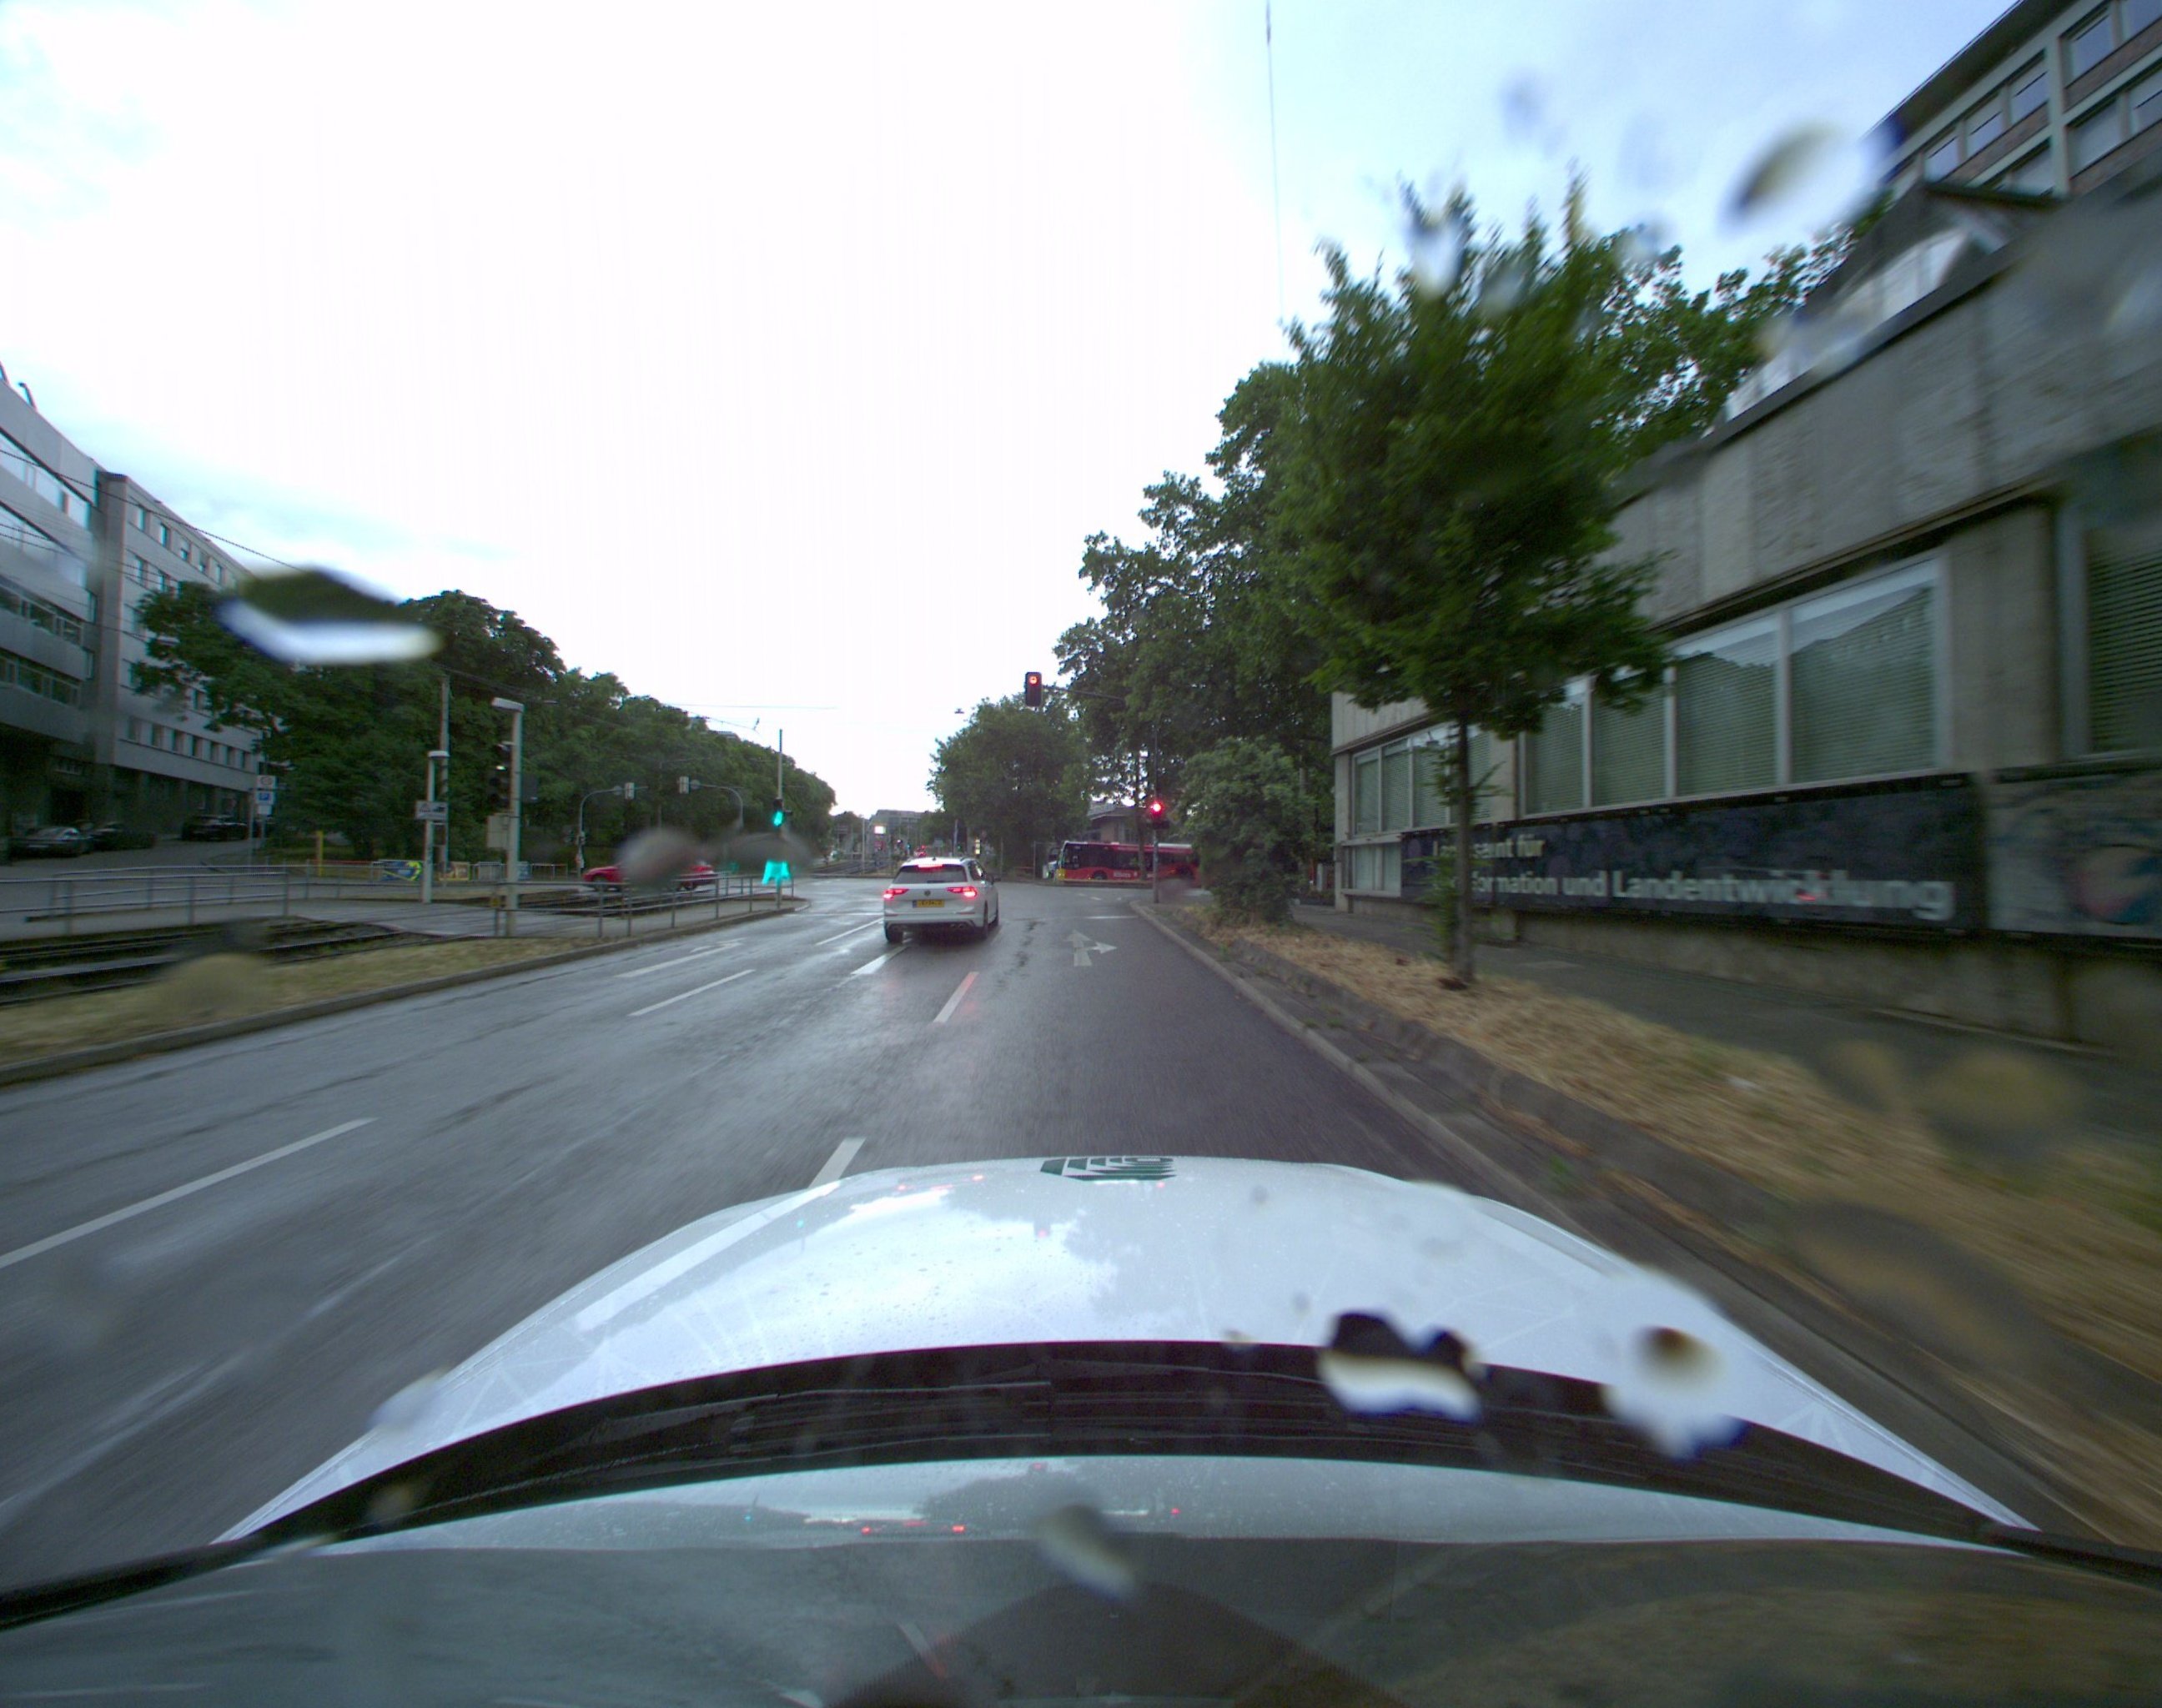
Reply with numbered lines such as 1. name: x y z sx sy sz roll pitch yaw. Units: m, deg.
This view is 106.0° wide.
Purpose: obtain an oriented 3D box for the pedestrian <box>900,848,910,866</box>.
1. pedestrian: -16.741 0.282 77.428 0.735 1.640 0.871 2 -1 2

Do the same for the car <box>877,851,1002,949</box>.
1. car: -2.498 0.734 15.347 1.674 1.576 4.251 0 0 -1

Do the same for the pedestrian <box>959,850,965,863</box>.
1. pedestrian: -17.179 0.303 117.634 0.757 1.823 0.697 2 -1 -14

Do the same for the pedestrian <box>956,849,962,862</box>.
1. pedestrian: -17.359 0.270 116.091 0.757 1.823 0.697 2 -1 -14

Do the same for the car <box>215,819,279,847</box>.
1. car: -59.092 -1.458 57.794 2.005 1.794 4.171 3 -1 -29

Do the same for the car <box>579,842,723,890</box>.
1. car: -16.562 0.473 31.534 4.393 1.640 1.984 2 -1 -4

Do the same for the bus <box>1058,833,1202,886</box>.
1. bus: 3.260 0.395 55.442 9.416 3.111 2.552 2 -1 -8

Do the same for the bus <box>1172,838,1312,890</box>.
1. bus: 11.124 0.715 56.587 9.150 3.111 2.656 2 -1 -9

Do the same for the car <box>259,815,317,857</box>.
1. car: -61.271 -1.346 63.013 2.005 2.998 4.171 3 -1 -29

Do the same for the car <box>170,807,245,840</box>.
1. car: -54.619 -1.862 51.001 2.006 1.794 4.169 3 -1 -30

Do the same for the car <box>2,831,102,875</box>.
1. car: -45.684 -0.046 36.272 2.010 1.794 3.953 3 -1 -41

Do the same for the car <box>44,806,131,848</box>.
1. car: -48.990 -1.363 40.246 2.010 1.793 3.954 3 2 -41
